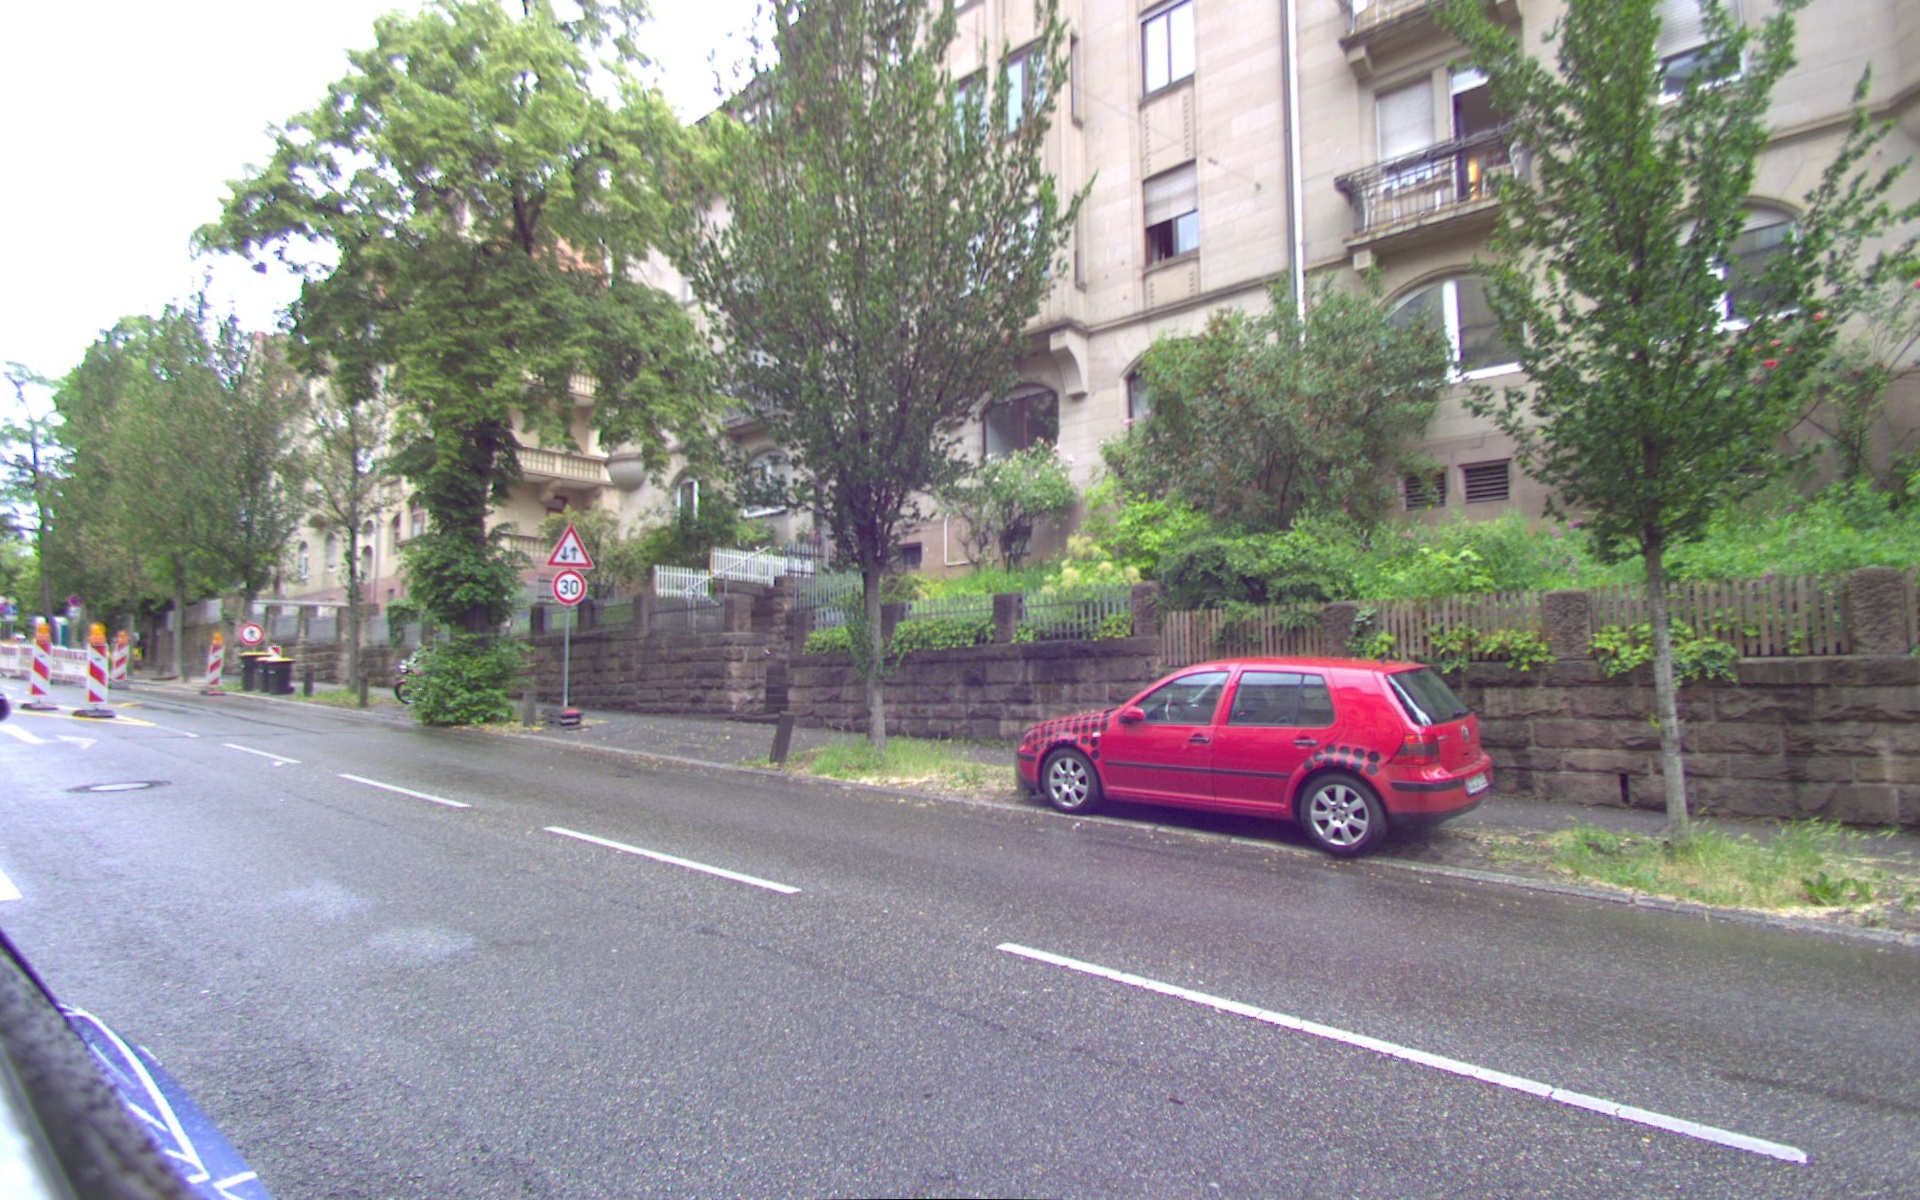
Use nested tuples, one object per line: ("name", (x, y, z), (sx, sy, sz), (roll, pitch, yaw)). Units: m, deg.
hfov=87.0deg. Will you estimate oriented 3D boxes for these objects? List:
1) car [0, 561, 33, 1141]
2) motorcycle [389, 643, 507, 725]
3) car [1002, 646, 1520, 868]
("car", (-5.038, 0.761, 3.828), (4.520, 1.685, 1.799), (-2, -3, 42))
("motorcycle", (-9.725, 1.541, 19.155), (3.058, 1.425, 0.792), (-2, -2, 38))
("car", (2.439, 1.154, 8.864), (4.062, 1.462, 1.596), (-2, -3, 42))
